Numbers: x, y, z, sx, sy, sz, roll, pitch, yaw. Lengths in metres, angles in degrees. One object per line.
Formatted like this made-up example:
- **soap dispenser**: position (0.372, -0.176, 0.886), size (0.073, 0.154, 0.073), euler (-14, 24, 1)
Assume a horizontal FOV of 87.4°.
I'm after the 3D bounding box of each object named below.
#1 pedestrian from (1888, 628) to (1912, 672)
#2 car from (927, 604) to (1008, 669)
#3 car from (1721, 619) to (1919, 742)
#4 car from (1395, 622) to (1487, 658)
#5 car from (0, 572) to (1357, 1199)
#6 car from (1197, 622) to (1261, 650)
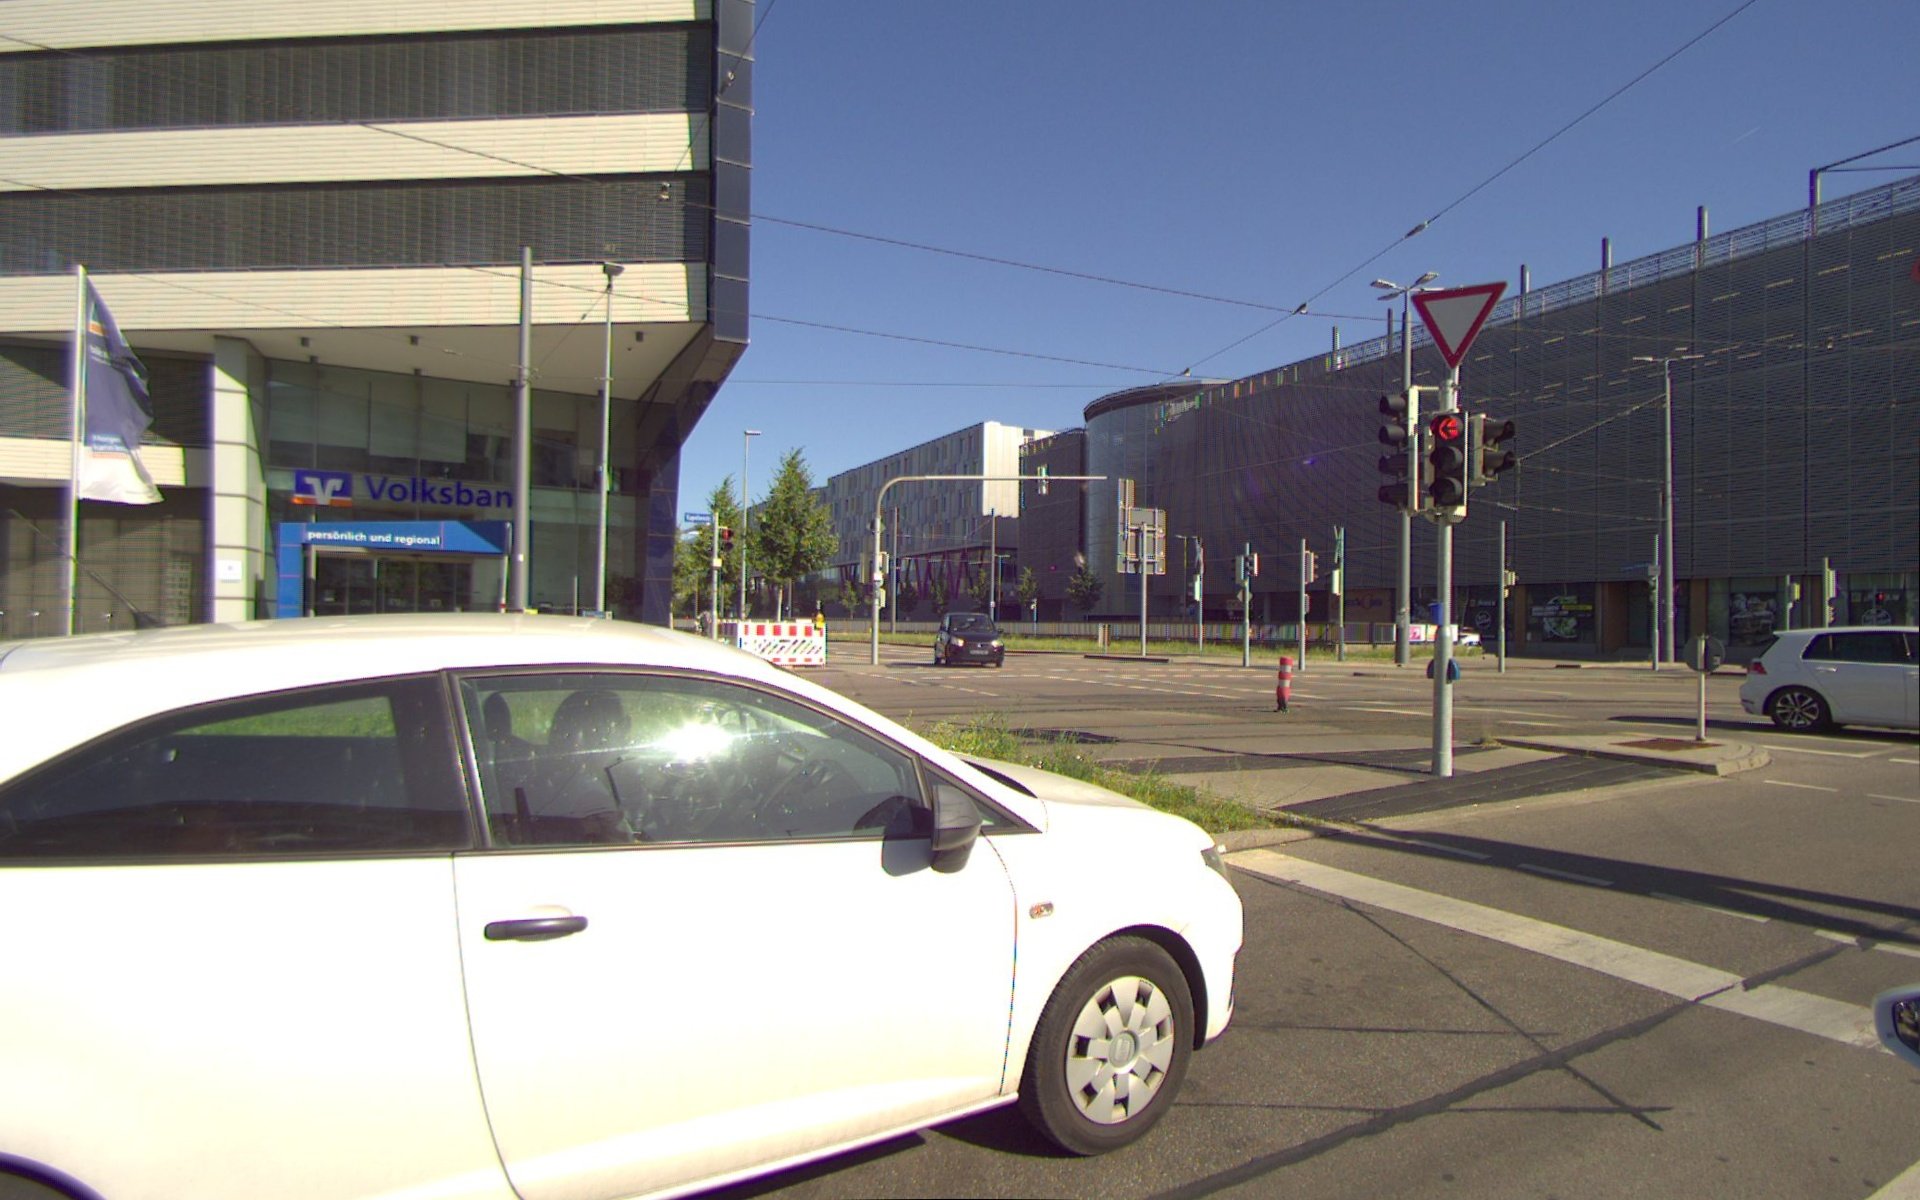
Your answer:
- **pedestrian**: position (39.972, 2.120, 42.728), size (0.687, 1.821, 0.726), euler (-2, -3, 44)
- **car**: position (0.144, 1.024, 28.497), size (1.554, 1.729, 3.544), euler (1, -1, -13)
- **car**: position (12.519, 1.003, 12.729), size (1.846, 1.492, 4.255), euler (1, -1, -35)
- **car**: position (26.609, 2.191, 55.715), size (1.819, 1.887, 4.306), euler (2, -1, -30)
- **car**: position (-0.952, 0.736, 2.788), size (3.977, 1.460, 1.723), euler (2, 1, -31)
- **car**: position (18.815, 2.528, 70.451), size (1.819, 1.605, 4.268), euler (2, 2, -30)
